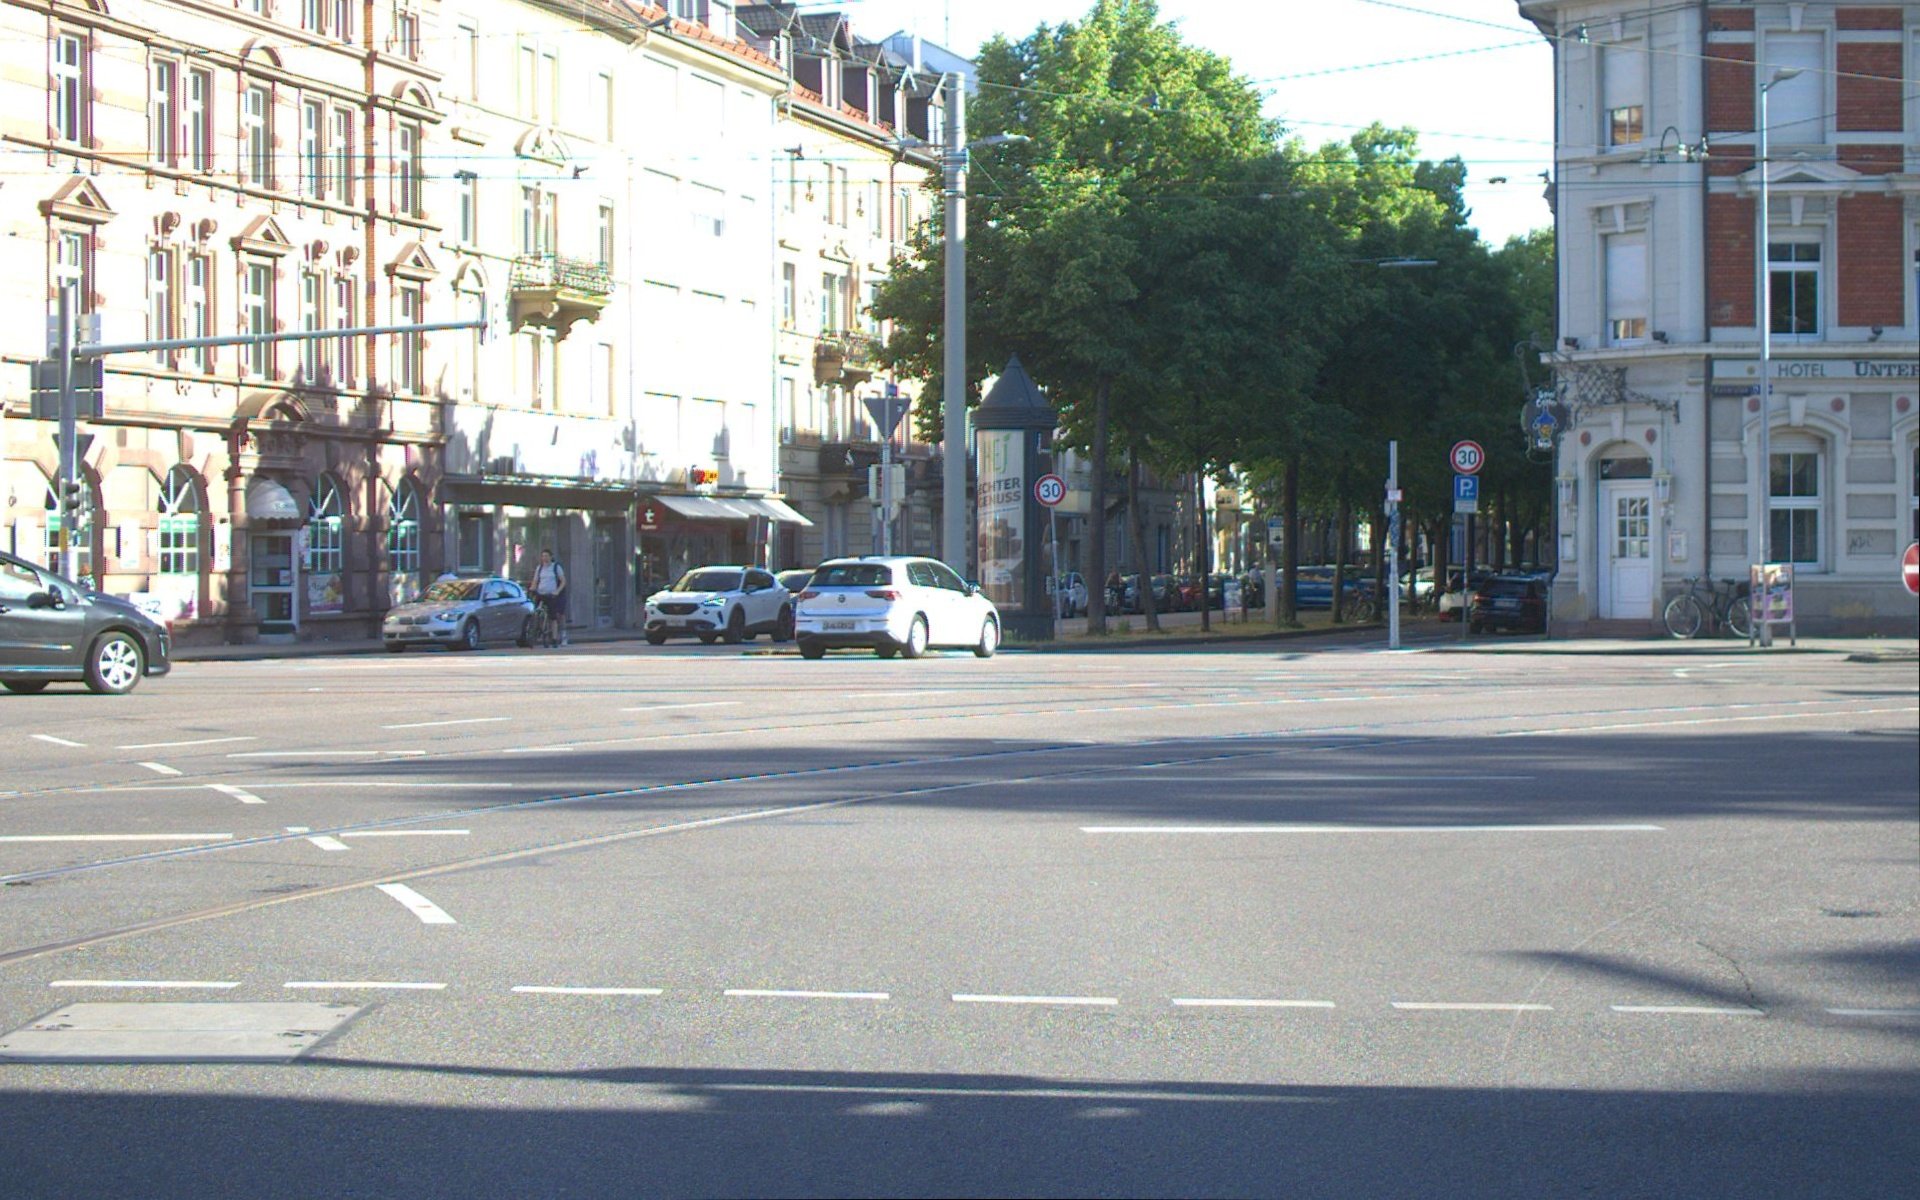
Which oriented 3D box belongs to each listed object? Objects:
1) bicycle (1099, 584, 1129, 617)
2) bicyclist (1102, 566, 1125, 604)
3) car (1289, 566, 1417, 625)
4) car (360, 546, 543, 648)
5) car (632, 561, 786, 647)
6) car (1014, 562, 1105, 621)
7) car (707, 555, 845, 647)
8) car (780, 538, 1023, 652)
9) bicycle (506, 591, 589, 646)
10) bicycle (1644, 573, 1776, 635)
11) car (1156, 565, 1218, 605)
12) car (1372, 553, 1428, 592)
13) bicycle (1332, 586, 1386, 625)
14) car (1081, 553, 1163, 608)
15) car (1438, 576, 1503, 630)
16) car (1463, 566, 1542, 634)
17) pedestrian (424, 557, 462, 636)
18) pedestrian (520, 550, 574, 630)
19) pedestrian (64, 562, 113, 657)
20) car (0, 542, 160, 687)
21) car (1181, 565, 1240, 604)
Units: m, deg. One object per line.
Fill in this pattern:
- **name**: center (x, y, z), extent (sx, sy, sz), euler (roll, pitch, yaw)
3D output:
- **bicycle**: center (5.122, 0.010, 114.116), extent (0.626, 1.081, 1.701), euler (1, 1, 16)
- **bicyclist**: center (5.098, -0.494, 114.041), extent (0.626, 1.261, 0.558), euler (1, 0, 16)
- **car**: center (13.155, -0.174, 114.986), extent (3.990, 1.897, 1.998), euler (1, 1, 16)
- **car**: center (-9.889, -0.076, 67.121), extent (1.995, 1.897, 3.997), euler (1, 1, 17)
- **car**: center (-4.875, 0.059, 67.259), extent (1.994, 1.612, 3.998), euler (1, 1, 11)
- **car**: center (3.274, -0.289, 112.716), extent (1.995, 1.897, 3.997), euler (1, 1, 17)
- **car**: center (-3.900, 0.008, 73.612), extent (1.994, 1.897, 3.998), euler (1, 1, 11)
- **car**: center (-0.773, -0.077, 48.594), extent (1.774, 1.525, 3.994), euler (1, 1, 26)
- **bicycle**: center (-7.820, 0.334, 65.300), extent (0.763, 1.004, 2.395), euler (1, 1, 13)
- **bicycle**: center (12.447, 0.069, 57.105), extent (2.049, 0.994, 0.630), euler (1, 0, 3)
- **car**: center (8.716, -0.572, 131.928), extent (1.560, 1.508, 3.653), euler (1, 1, 17)
- **car**: center (17.230, -1.081, 134.577), extent (1.560, 1.508, 3.653), euler (1, 1, 17)
- **bicycle**: center (11.499, 0.161, 99.083), extent (0.626, 1.081, 1.703), euler (1, 1, -31)
- **car**: center (5.798, -0.699, 122.550), extent (1.995, 1.897, 3.997), euler (1, 1, 17)
- **car**: center (15.150, 0.073, 101.857), extent (1.692, 1.559, 3.839), euler (1, 1, 11)
- **car**: center (13.062, -0.018, 82.605), extent (1.692, 1.559, 3.839), euler (1, 1, 11)
- **pedestrian**: center (-10.844, -0.077, 72.134), extent (0.544, 1.626, 0.706), euler (1, 0, 13)
- **pedestrian**: center (-7.834, -0.193, 65.220), extent (0.821, 1.507, 0.598), euler (1, 0, 15)
- **pedestrian**: center (-15.064, 0.162, 59.434), extent (0.544, 1.626, 0.706), euler (1, 0, 13)
- **car**: center (-9.740, 0.120, 32.549), extent (3.845, 1.357, 1.758), euler (0, 1, -44)
- **car**: center (9.948, -0.618, 136.371), extent (1.560, 1.508, 3.653), euler (1, 1, 17)
